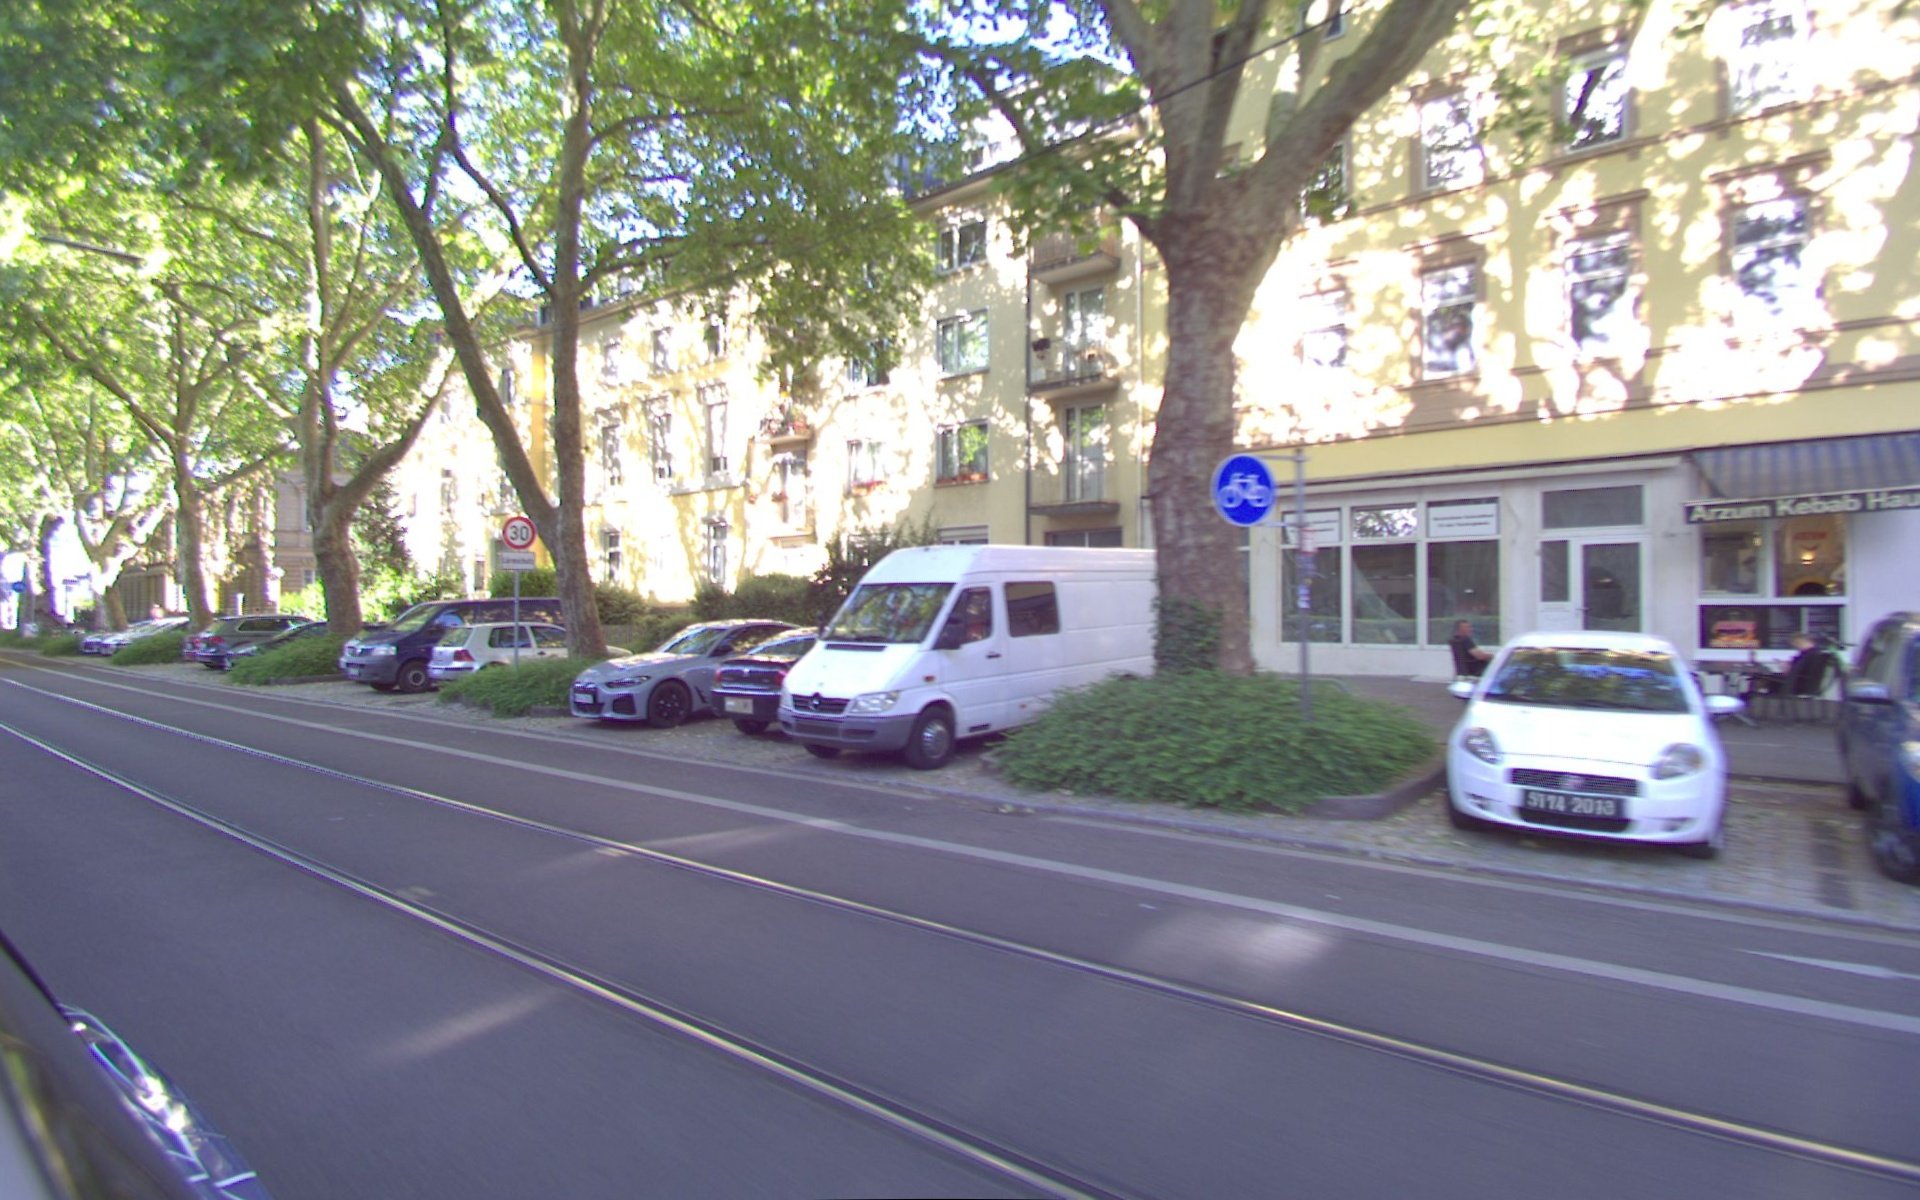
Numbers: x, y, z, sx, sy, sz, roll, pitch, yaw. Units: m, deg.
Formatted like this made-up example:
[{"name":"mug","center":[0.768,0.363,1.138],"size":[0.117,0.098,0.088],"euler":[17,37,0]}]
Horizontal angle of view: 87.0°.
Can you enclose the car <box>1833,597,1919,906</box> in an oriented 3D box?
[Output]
[{"name":"car","center":[7.329,0.867,6.868],"size":[1.814,1.725,4.279],"euler":[-1,-2,37]}]

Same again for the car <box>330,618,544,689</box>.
[{"name":"car","center":[-12.569,1.226,24.550],"size":[1.656,1.418,4.312],"euler":[-2,0,39]}]

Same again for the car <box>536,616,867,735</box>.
[{"name":"car","center":[-3.935,1.076,16.183],"size":[1.998,1.456,4.882],"euler":[-2,0,39]}]

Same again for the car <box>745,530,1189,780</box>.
[{"name":"car","center":[0.505,0.496,13.014],"size":[1.998,2.426,6.537],"euler":[-2,0,39]}]

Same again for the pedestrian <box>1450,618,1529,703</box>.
[{"name":"pedestrian","center":[8.109,0.902,15.495],"size":[0.929,1.250,0.700],"euler":[-1,-2,41]}]

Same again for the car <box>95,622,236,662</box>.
[{"name":"car","center":[-30.272,1.562,38.656],"size":[1.598,1.442,3.951],"euler":[-1,-1,36]}]

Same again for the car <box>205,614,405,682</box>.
[{"name":"car","center":[-18.290,1.288,28.412],"size":[1.998,1.625,4.312],"euler":[-2,0,39]}]

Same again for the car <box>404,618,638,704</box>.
[{"name":"car","center":[-8.966,1.179,20.936],"size":[1.867,1.456,4.018],"euler":[-2,0,39]}]

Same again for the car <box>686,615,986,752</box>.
[{"name":"car","center":[-1.609,1.038,14.377],"size":[1.902,1.509,4.106],"euler":[-1,1,38]}]

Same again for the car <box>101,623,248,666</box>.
[{"name":"car","center":[-28.448,1.561,36.744],"size":[1.525,1.442,3.951],"euler":[-1,-1,36]}]

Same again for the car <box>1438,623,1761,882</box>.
[{"name":"car","center":[5.137,0.956,8.070],"size":[1.744,1.529,3.735],"euler":[-1,-2,36]}]

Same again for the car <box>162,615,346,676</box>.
[{"name":"car","center":[-21.903,1.365,31.519],"size":[1.998,1.625,4.312],"euler":[-2,0,39]}]

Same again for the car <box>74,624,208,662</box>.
[{"name":"car","center":[-32.667,1.687,40.446],"size":[1.409,1.385,3.951],"euler":[-1,-1,36]}]

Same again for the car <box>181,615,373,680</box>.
[{"name":"car","center":[-20.130,1.352,29.961],"size":[1.998,1.625,4.312],"euler":[-2,0,39]}]

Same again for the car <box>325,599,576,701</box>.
[{"name":"car","center":[-11.143,1.014,22.434],"size":[1.919,1.922,4.583],"euler":[-2,0,38]}]
